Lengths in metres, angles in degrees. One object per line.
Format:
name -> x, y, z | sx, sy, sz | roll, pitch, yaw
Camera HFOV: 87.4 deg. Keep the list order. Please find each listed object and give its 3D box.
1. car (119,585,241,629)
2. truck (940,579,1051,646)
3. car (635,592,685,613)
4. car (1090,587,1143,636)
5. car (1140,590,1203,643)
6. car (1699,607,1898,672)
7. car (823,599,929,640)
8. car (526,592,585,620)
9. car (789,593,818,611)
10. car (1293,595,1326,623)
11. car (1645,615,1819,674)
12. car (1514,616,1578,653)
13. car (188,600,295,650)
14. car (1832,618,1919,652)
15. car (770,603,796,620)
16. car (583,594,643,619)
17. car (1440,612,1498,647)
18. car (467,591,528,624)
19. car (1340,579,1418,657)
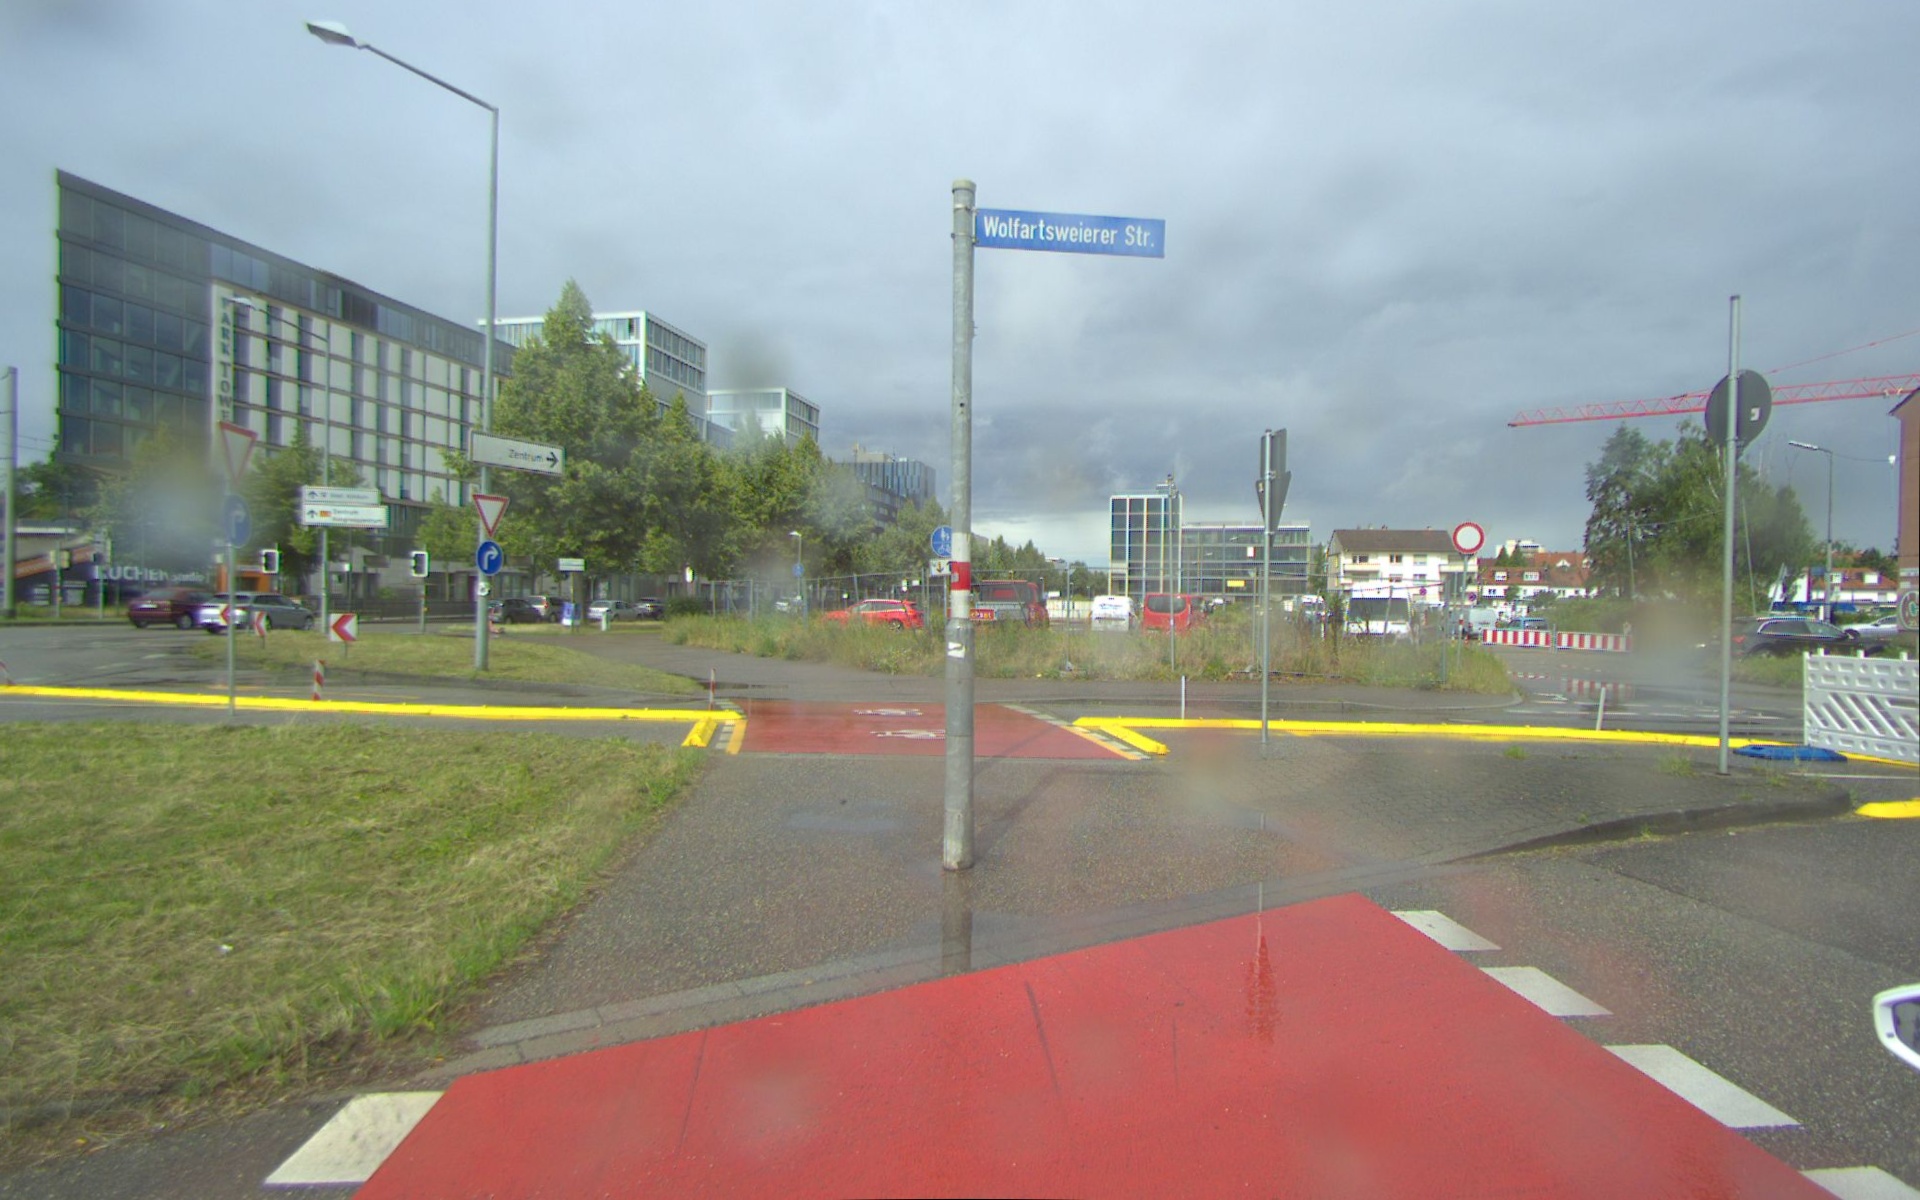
car -> -27.814, 0.255, 35.993 | 1.688, 1.482, 3.995 | 0, -1, -8
truck -> 1.495, 0.374, 38.828 | 2.351, 2.241, 6.098 | 2, 2, 21
car -> -20.820, 0.173, 69.765 | 1.668, 1.386, 3.848 | 1, 0, 12
car -> 6.306, 0.413, 40.232 | 1.820, 1.723, 4.001 | 1, 2, 13
car -> 7.797, 0.556, 36.860 | 1.891, 1.723, 4.000 | 1, 2, 17
car -> 23.544, 1.079, 28.388 | 3.982, 1.654, 1.615 | 1, 0, 26
car -> -3.525, 0.812, 42.363 | 4.107, 1.531, 1.858 | 1, 2, 10
car -> -23.636, 0.327, 58.752 | 1.518, 1.581, 3.502 | 1, 0, 11
car -> -13.861, 0.182, 88.936 | 1.470, 1.530, 3.502 | 2, 0, 9
car -> 29.682, 0.716, 85.213 | 2.334, 2.113, 4.968 | 2, 2, 22
car -> 23.803, 1.333, 31.136 | 3.982, 1.654, 1.615 | 1, 0, 26
car -> 36.910, 2.137, 63.421 | 1.960, 2.152, 4.002 | 1, 0, 5
car -> -24.337, 0.805, 34.180 | 1.571, 1.581, 3.543 | 0, 0, -10
car -> 45.150, 1.676, 49.220 | 1.605, 1.539, 3.478 | 1, 0, -41
car -> -16.567, 1.077, 94.132 | 1.470, 1.530, 3.502 | 4, 0, 6
car -> -20.754, 0.391, 60.226 | 1.668, 1.386, 3.848 | 1, 0, 12
car -> 32.911, 1.887, 65.031 | 1.960, 2.152, 4.002 | 1, 0, 5
car -> -22.994, 0.339, 50.018 | 1.520, 1.581, 3.499 | 1, 0, -2
car -> 13.223, 0.443, 31.828 | 2.003, 2.113, 6.262 | 2, 2, 22
